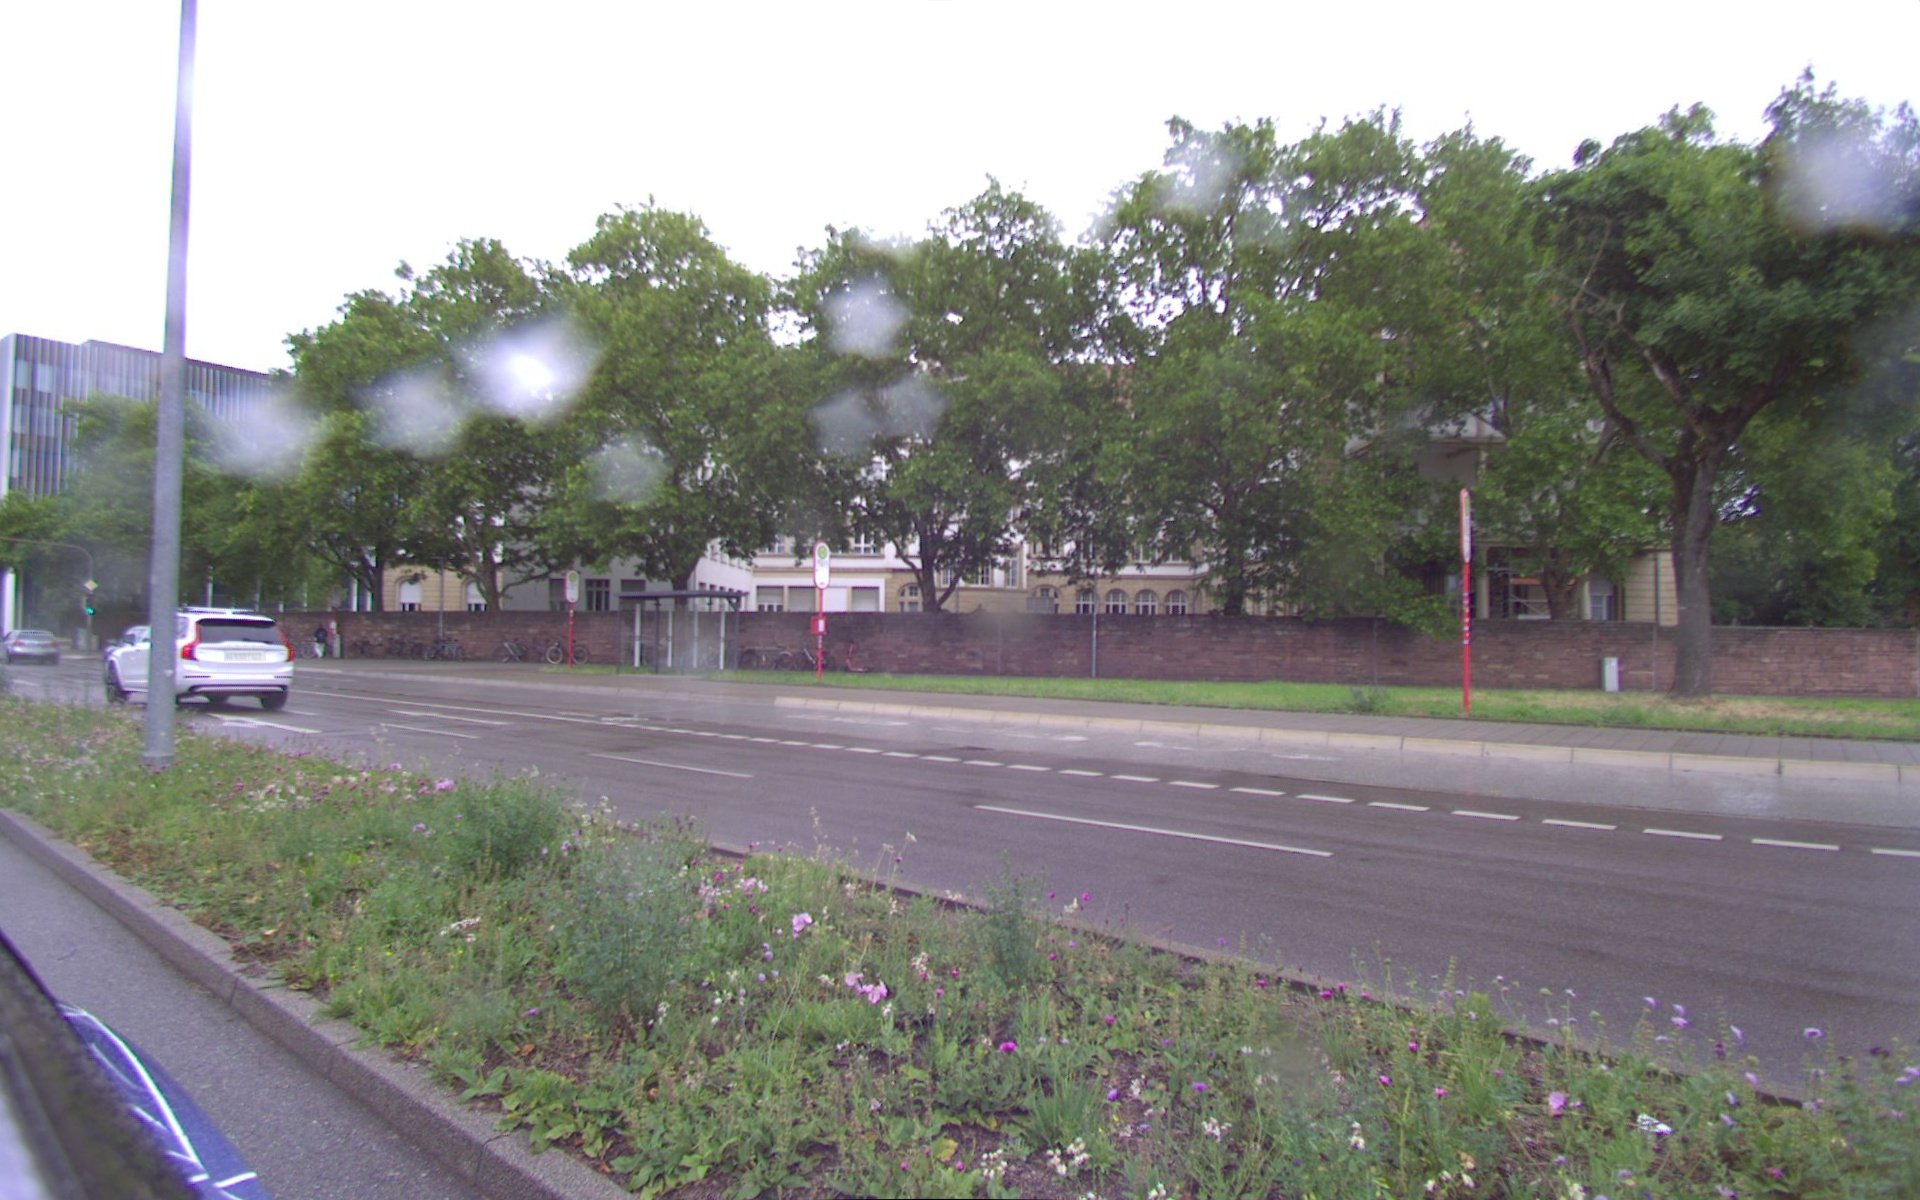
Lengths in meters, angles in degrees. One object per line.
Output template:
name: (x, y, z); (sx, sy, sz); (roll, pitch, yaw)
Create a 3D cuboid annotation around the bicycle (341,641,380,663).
bicycle: (-27.800, 2.425, 46.928); (1.692, 0.990, 0.727); (-1, -2, 27)

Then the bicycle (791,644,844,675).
bicycle: (-5.351, 2.219, 37.965); (1.978, 1.144, 0.570); (-1, -3, 22)

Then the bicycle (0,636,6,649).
bicycle: (-94.746, 4.134, 98.793); (0.595, 1.231, 2.267); (-1, -3, 25)

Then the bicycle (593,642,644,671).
bicycle: (-13.694, 2.246, 40.610); (1.975, 1.144, 0.571); (-1, -3, 18)

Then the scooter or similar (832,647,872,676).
scooter or similar: (-3.999, 2.266, 37.468); (1.353, 1.055, 0.570); (-1, -3, 22)

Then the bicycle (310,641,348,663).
bicycle: (-30.156, 2.469, 48.360); (1.692, 0.990, 0.727); (-1, -2, 27)

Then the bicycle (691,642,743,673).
bicycle: (-9.440, 2.221, 39.288); (1.978, 1.144, 0.570); (-1, -3, 22)

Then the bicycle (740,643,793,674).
bicycle: (-7.341, 2.225, 38.443); (1.978, 1.144, 0.570); (-1, -3, 22)

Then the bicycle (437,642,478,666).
bicycle: (-21.570, 2.293, 43.432); (1.692, 0.990, 0.727); (-1, -2, 27)

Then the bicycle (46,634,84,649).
bicycle: (-73.838, 3.434, 83.520); (0.595, 1.231, 2.267); (-1, -3, 25)

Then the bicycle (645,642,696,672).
bicycle: (-11.408, 2.233, 39.885); (1.975, 1.144, 0.571); (-1, -3, 18)

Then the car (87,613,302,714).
car: (-14.631, 1.157, 19.243); (5.156, 1.695, 1.809); (-1, -4, 37)

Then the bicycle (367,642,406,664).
bicycle: (-26.210, 2.405, 46.215); (1.692, 0.990, 0.727); (-1, -2, 27)

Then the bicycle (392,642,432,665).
bicycle: (-24.639, 2.401, 45.492); (1.692, 0.990, 0.727); (-1, -2, 27)

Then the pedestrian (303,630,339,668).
pedestrian: (-29.335, 2.242, 46.451); (1.395, 1.708, 0.862); (-1, -3, 32)

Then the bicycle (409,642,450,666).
bicycle: (-23.481, 2.380, 44.799); (1.692, 0.990, 0.727); (-1, -2, 27)

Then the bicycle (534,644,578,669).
bicycle: (-16.643, 2.324, 41.689); (1.692, 0.990, 0.727); (-1, -2, 27)

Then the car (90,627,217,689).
car: (-23.459, 1.665, 29.375); (4.600, 1.648, 1.973); (-1, -5, 41)

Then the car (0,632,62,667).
car: (-39.940, 2.088, 43.232); (4.154, 1.415, 1.662); (-1, -4, 40)

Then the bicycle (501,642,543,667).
bicycle: (-18.473, 2.293, 42.674); (1.692, 0.990, 0.727); (-1, -2, 27)
